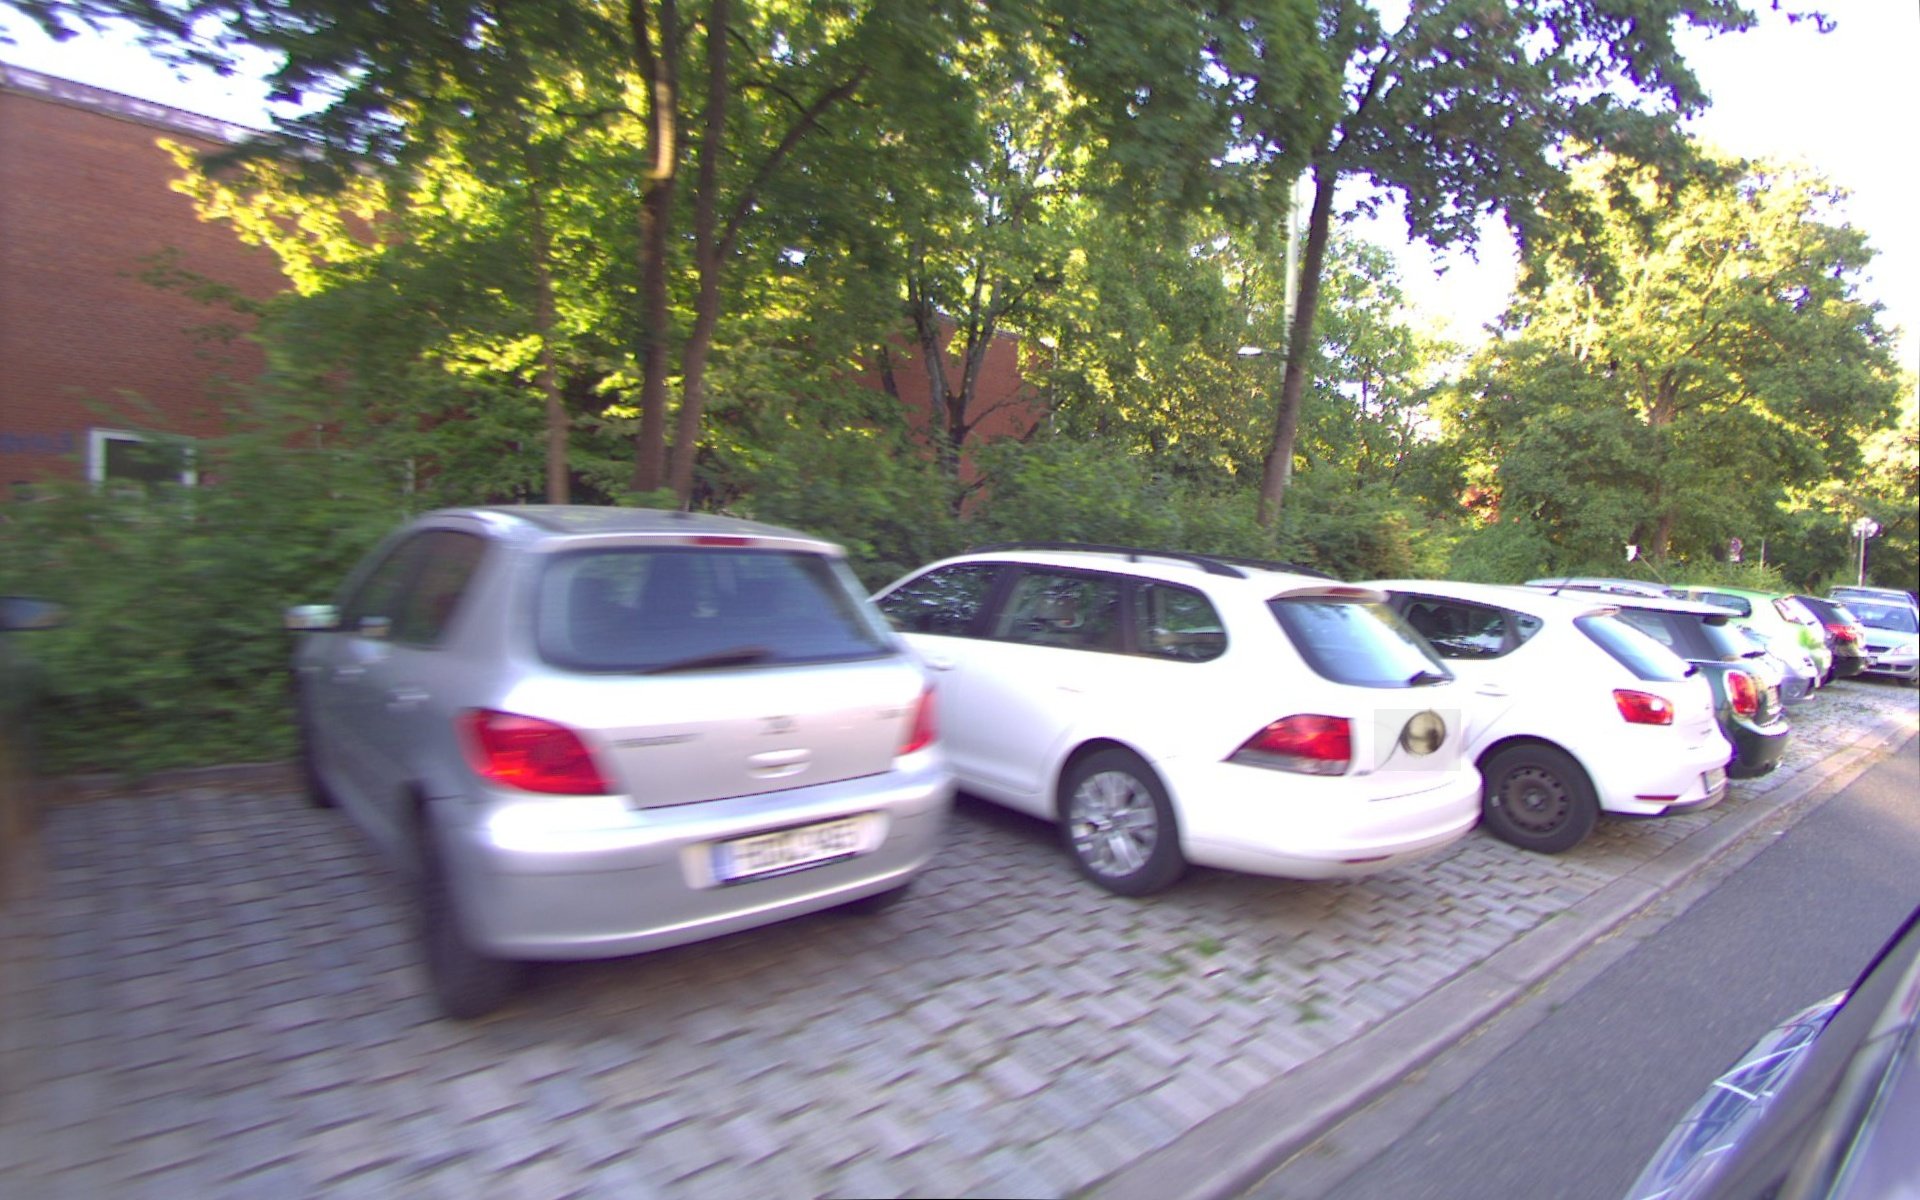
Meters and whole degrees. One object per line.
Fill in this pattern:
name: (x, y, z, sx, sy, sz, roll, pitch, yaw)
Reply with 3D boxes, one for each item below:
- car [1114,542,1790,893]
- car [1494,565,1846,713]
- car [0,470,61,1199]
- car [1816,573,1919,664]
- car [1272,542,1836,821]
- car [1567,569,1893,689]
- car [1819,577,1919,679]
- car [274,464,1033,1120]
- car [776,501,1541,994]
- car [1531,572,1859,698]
car: (3.082, 0.512, 6.900, 1.705, 1.461, 3.675, 1, 6, -42)
car: (9.088, 0.391, 13.141, 1.642, 1.544, 3.393, 0, 3, -40)
car: (-3.524, 0.364, 2.586, 1.725, 1.411, 3.760, 0, 7, -40)
car: (20.734, 0.361, 22.829, 1.919, 1.769, 4.601, 5, 4, 38)
car: (4.723, 0.460, 8.435, 1.643, 1.543, 3.619, 1, 6, -42)
car: (12.542, 0.379, 16.691, 1.709, 1.530, 3.958, 0, 4, -41)
car: (16.863, 0.471, 18.361, 1.651, 1.586, 4.233, 6, 4, 43)
car: (-1.667, 0.274, 4.392, 1.788, 1.515, 3.737, 0, 7, -40)
car: (0.763, 0.403, 5.475, 1.705, 1.570, 3.675, 1, 6, -42)
car: (10.766, 0.414, 15.015, 1.642, 1.559, 3.635, 0, 2, -40)
